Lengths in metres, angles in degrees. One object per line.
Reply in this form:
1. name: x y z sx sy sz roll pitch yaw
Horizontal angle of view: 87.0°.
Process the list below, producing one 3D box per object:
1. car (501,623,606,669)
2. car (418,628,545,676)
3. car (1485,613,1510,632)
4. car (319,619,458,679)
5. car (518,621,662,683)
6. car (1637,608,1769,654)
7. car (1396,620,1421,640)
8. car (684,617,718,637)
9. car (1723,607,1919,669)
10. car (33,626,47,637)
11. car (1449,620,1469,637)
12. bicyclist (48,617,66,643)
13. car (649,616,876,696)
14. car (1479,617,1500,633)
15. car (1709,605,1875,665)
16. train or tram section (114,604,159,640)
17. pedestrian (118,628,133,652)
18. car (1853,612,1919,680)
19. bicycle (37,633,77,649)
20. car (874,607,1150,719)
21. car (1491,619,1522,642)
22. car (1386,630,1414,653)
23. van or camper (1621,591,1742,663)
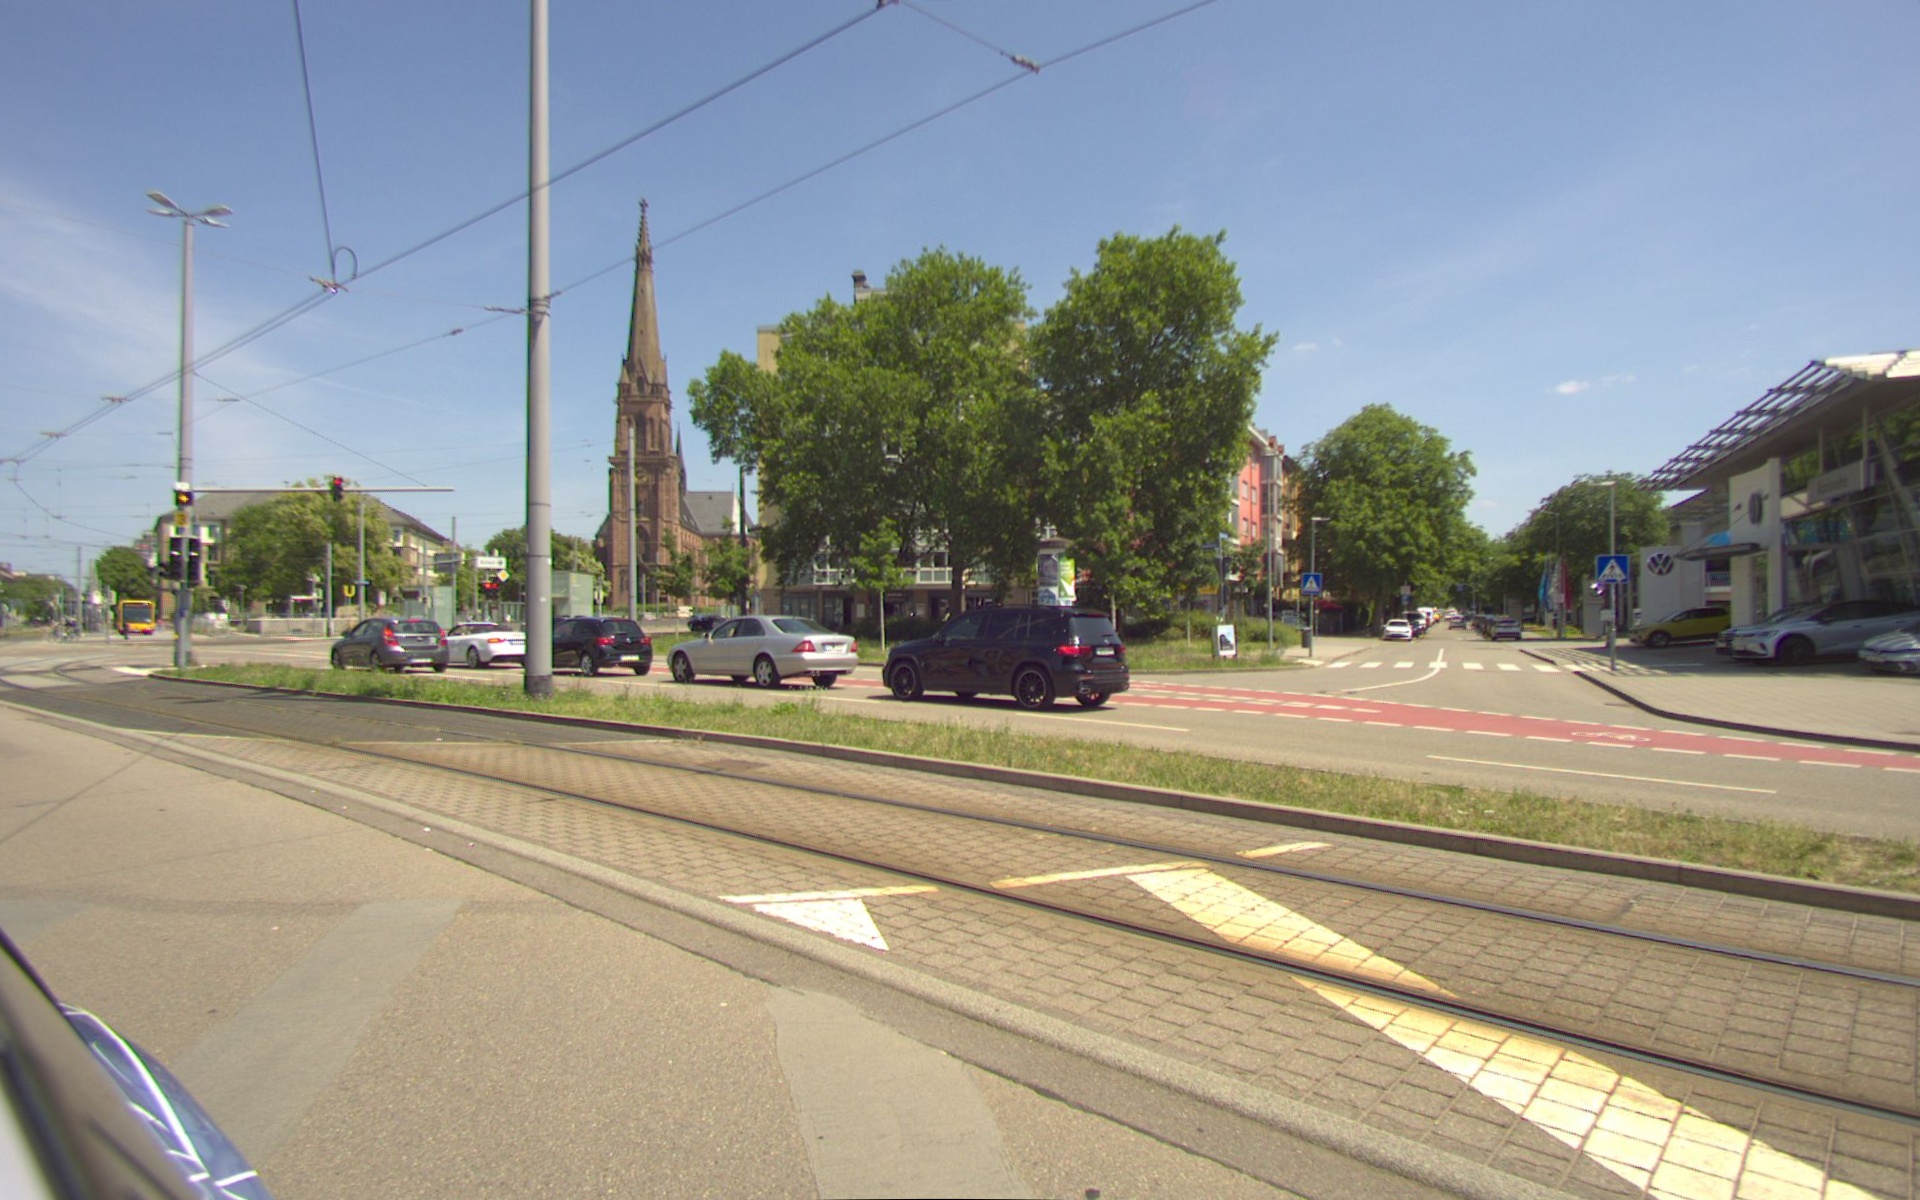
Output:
1. car: -14.825 1.659 36.810 4.393 1.610 1.519 -2 -3 38
2. car: -14.194 1.499 29.957 4.197 1.309 1.690 -1 -3 38
3. car: 45.879 1.946 86.470 1.821 1.570 3.962 -1 -1 28
4. car: -15.308 1.284 27.020 4.326 1.491 1.825 -2 -3 40
5. car: -9.441 1.279 25.704 3.898 1.473 1.655 -1 -2 38
6. car: 30.588 1.263 41.809 4.077 1.846 1.647 -1 -1 26
7. car: 34.066 2.263 76.778 1.536 1.444 3.964 -1 -1 26
8. car: -16.442 1.707 64.230 1.957 1.163 0.504 -3 0 -34
9. car: 22.673 0.971 26.308 4.148 1.431 1.605 -3 -2 15
10. car: -130.209 4.432 143.273 1.419 1.608 4.005 0 -1 -42
11. car: 55.400 3.185 112.287 1.774 1.807 3.959 -1 -1 30
12. bicyclist: -59.732 2.007 66.959 0.527 1.701 0.804 -1 -1 34
13. car: -4.364 1.141 21.882 5.125 1.542 1.974 -1 -3 39
14. car: 53.401 2.548 102.107 1.821 1.570 3.962 -1 -1 28
15. car: 23.418 0.979 28.600 3.295 1.630 1.424 -1 -1 10
16. train or tram section: -76.336 2.050 93.725 2.800 3.238 9.120 0 -1 -42
17. pedestrian: -58.215 2.806 70.578 0.446 1.684 0.651 -1 -1 22
18. car: 22.862 1.000 22.778 4.002 1.468 1.501 -1 -1 3
19. bicycle: -59.669 2.695 66.899 0.527 0.986 1.885 -1 -1 33
20. car: 0.766 0.991 17.055 4.523 1.639 1.803 -1 -3 42
21. car: 38.252 2.139 70.950 1.821 1.570 3.962 -1 -1 28
22. car: 29.898 2.772 68.667 1.536 1.444 3.964 -1 -1 26
23. van or camper: 31.555 1.191 44.401 3.980 3.026 1.982 -1 -1 27
